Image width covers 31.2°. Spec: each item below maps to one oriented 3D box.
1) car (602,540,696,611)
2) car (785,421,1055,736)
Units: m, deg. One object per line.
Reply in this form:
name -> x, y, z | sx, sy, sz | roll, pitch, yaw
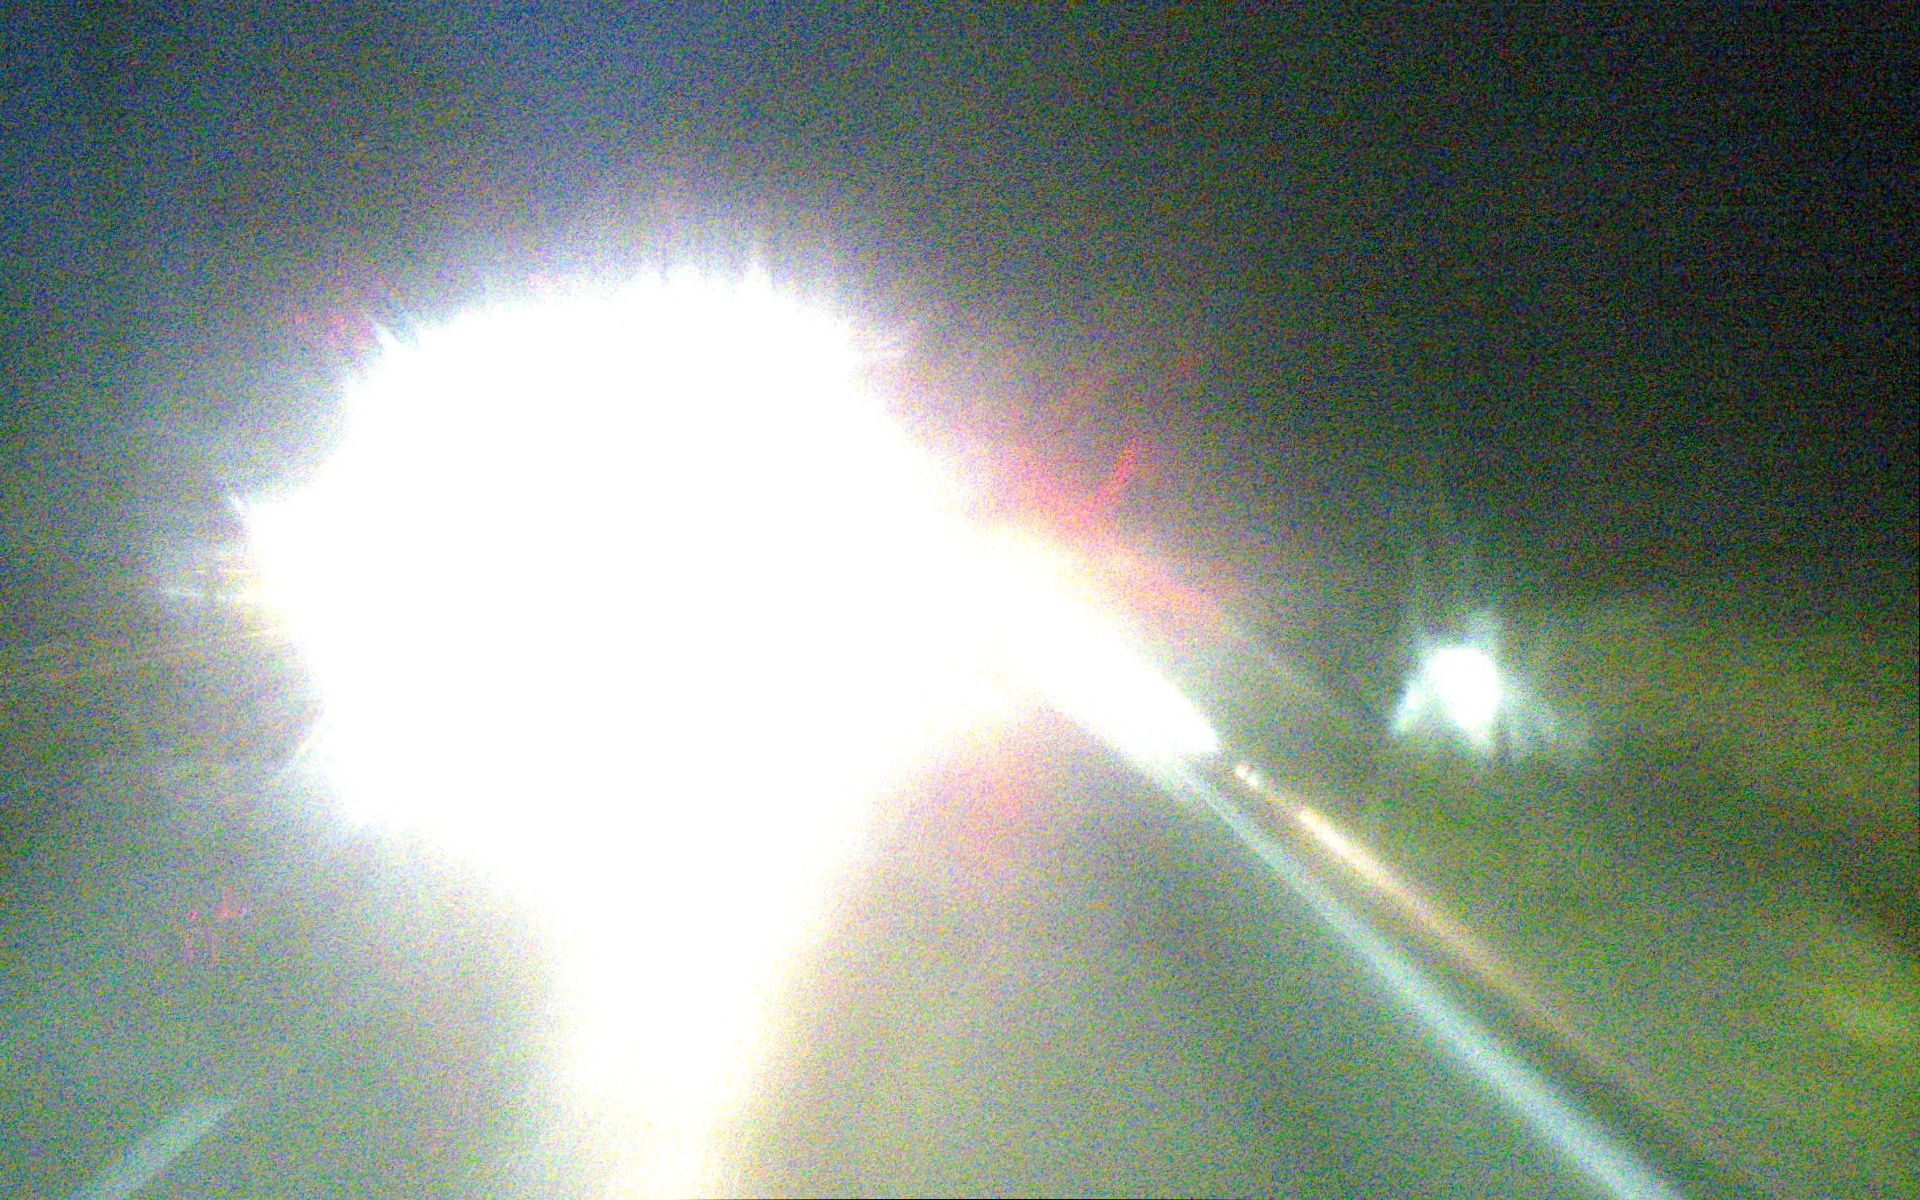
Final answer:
car -> -6.753, -0.557, 75.015 | 1.851, 1.483, 3.994 | -1, 1, -3
car -> -0.353, -0.212, 30.463 | 2.181, 2.548, 4.508 | 1, 1, -1
